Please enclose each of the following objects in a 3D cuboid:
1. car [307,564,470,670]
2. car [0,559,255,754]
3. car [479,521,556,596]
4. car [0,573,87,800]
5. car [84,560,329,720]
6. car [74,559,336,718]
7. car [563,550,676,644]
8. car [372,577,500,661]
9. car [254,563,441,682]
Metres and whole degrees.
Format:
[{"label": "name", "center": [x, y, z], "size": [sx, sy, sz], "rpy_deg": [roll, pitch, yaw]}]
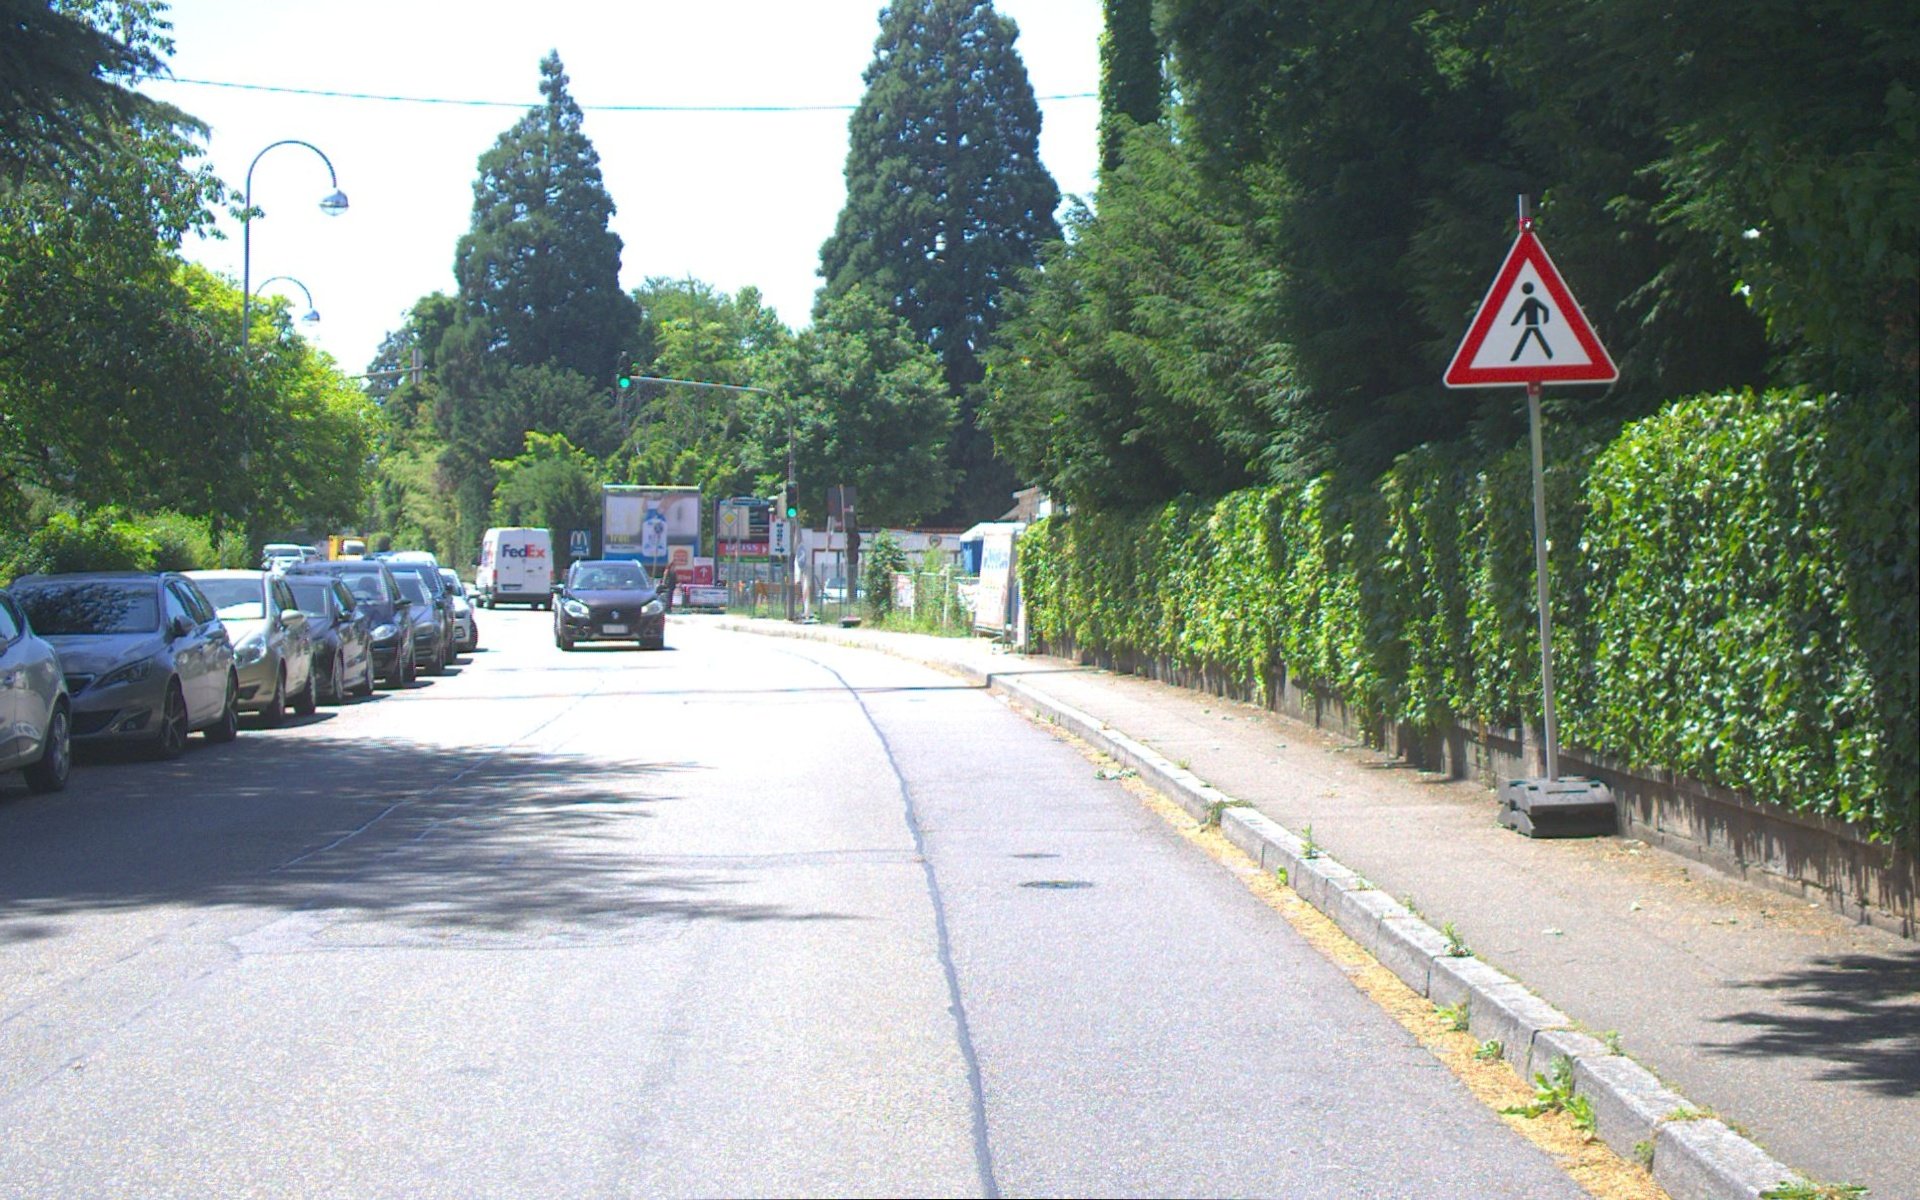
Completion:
[{"label": "car", "center": [-8.062, 0.219, 48.807], "size": [1.688, 1.439, 4.136], "rpy_deg": [0, 0, -1]}, {"label": "car", "center": [-6.917, 0.396, 27.696], "size": [1.688, 1.439, 4.136], "rpy_deg": [0, 1, -1]}, {"label": "car", "center": [-14.014, -1.297, 108.648], "size": [2.143, 2.307, 4.854], "rpy_deg": [0, 1, -10]}, {"label": "car", "center": [-6.700, 0.530, 21.448], "size": [1.582, 1.385, 3.883], "rpy_deg": [0, 1, -1]}, {"label": "car", "center": [-7.259, 0.350, 33.446], "size": [1.689, 1.444, 4.000], "rpy_deg": [1, 0, -3]}, {"label": "car", "center": [-7.249, 0.340, 33.368], "size": [1.688, 1.439, 4.136], "rpy_deg": [0, 0, -1]}, {"label": "car", "center": [-5.916, -0.059, 60.092], "size": [1.852, 1.579, 4.136], "rpy_deg": [0, 0, -4]}, {"label": "car", "center": [-9.233, 0.313, 60.816], "size": [1.688, 1.439, 4.136], "rpy_deg": [0, 0, -1]}, {"label": "car", "center": [-7.700, 0.263, 43.510], "size": [1.688, 1.439, 4.136], "rpy_deg": [0, 0, -1]}]
